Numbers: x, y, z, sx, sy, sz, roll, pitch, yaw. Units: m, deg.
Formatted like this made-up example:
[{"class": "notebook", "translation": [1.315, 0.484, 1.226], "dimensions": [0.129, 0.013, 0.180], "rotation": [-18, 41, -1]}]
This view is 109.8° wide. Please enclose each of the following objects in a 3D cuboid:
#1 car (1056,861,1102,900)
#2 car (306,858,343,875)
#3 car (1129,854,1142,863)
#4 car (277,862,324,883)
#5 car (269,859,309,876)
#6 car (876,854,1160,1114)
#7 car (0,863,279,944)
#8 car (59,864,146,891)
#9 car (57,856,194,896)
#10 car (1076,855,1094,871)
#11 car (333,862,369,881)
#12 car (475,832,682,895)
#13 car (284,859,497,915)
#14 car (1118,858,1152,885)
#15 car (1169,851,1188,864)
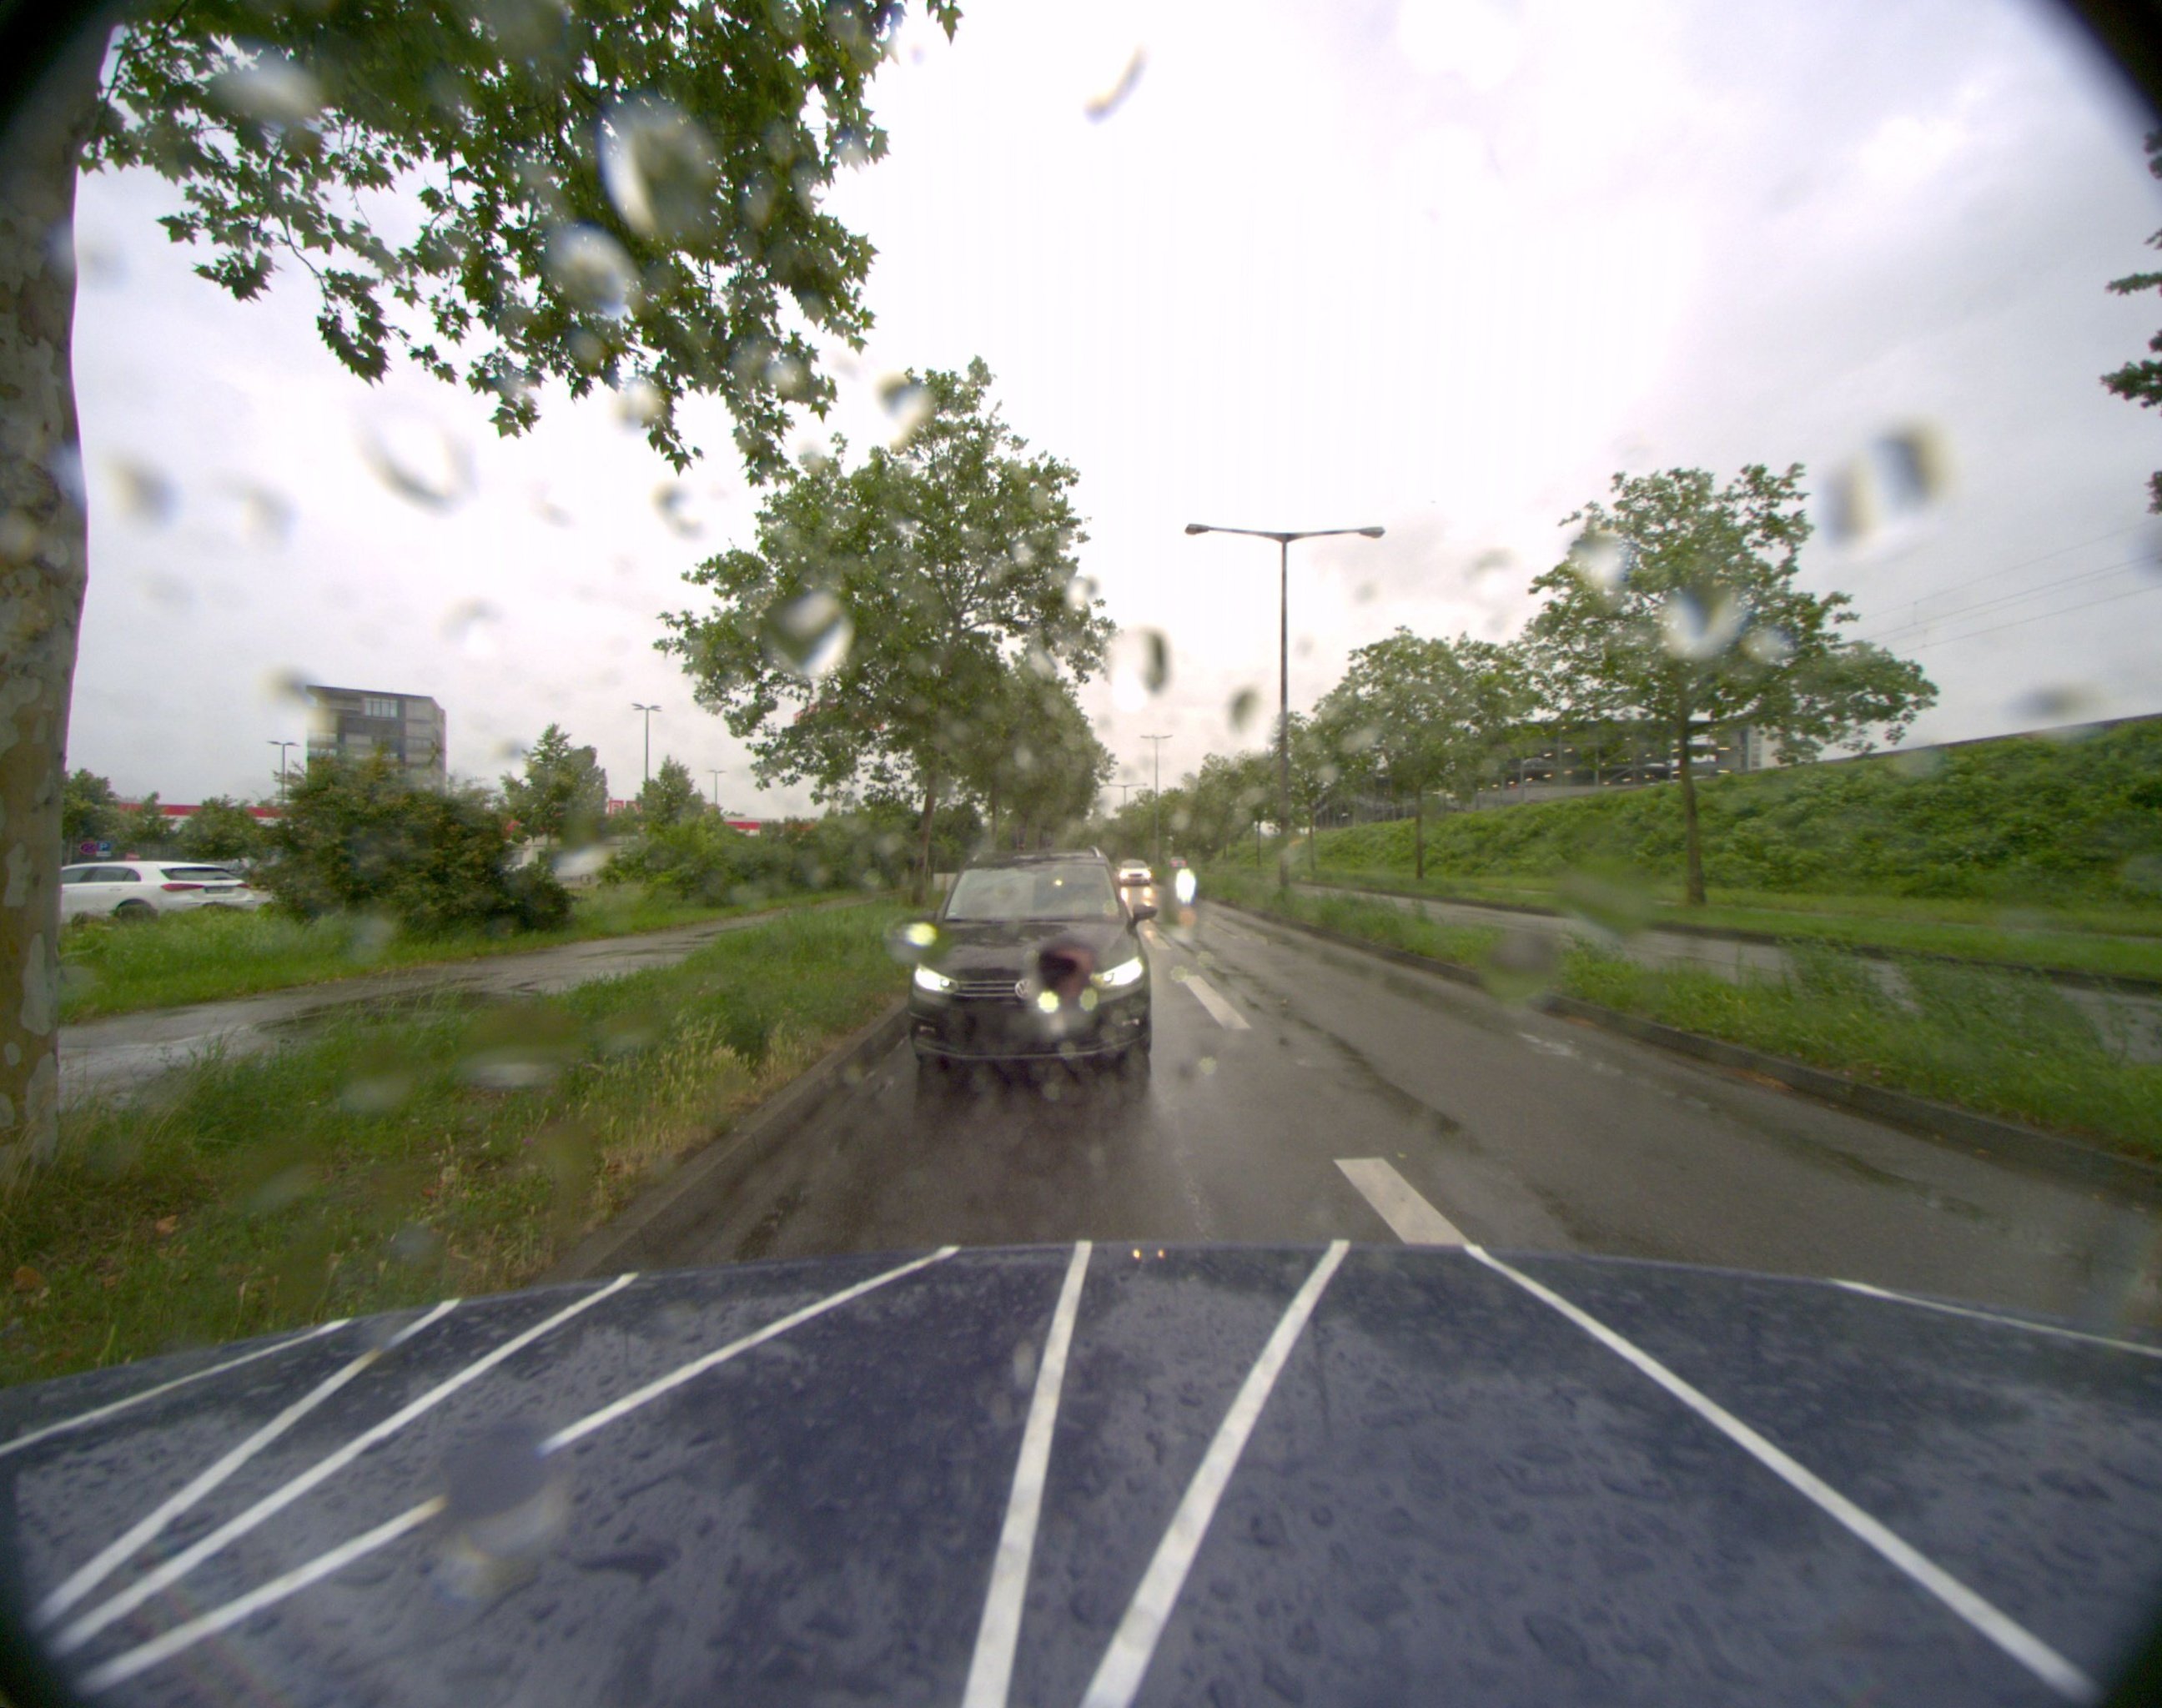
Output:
[{"class": "car", "translation": [-0.076, 1.049, 31.670], "dimensions": [1.724, 1.456, 4.092], "rotation": [-2, 0, 0]}, {"class": "car", "translation": [-78.474, 1.234, 78.866], "dimensions": [2.006, 1.667, 4.262], "rotation": [0, 0, -35]}, {"class": "car", "translation": [8.862, 0.691, 123.621], "dimensions": [1.724, 1.456, 4.092], "rotation": [0, 0, 0]}, {"class": "car", "translation": [-67.289, 1.600, 65.604], "dimensions": [2.006, 1.667, 4.262], "rotation": [0, 0, -34]}, {"class": "car", "translation": [-80.585, 1.332, 77.335], "dimensions": [2.006, 1.667, 4.262], "rotation": [0, 0, -35]}, {"class": "car", "translation": [-0.446, 0.838, 7.216], "dimensions": [1.771, 1.596, 4.626], "rotation": [-2, 0, -1]}, {"class": "car", "translation": [-19.799, 0.968, 15.661], "dimensions": [4.272, 1.543, 1.929], "rotation": [0, 0, -4]}, {"class": "car", "translation": [-61.860, 1.436, 48.137], "dimensions": [1.933, 1.543, 4.263], "rotation": [0, 0, -30]}, {"class": "car", "translation": [-46.303, 1.051, 36.943], "dimensions": [3.787, 1.708, 1.687], "rotation": [-3, 1, -37]}, {"class": "car", "translation": [0.423, 0.870, 75.883], "dimensions": [1.724, 1.456, 4.092], "rotation": [-2, 0, 1]}, {"class": "car", "translation": [-68.727, 1.644, 71.594], "dimensions": [2.007, 1.667, 4.261], "rotation": [0, 0, -39]}, {"class": "car", "translation": [-19.671, 0.364, 30.081], "dimensions": [6.425, 2.349, 2.390], "rotation": [0, 0, -8]}, {"class": "car", "translation": [-19.952, 0.926, 22.132], "dimensions": [4.272, 1.543, 1.929], "rotation": [0, 0, -4]}, {"class": "car", "translation": [3.030, 0.974, 43.355], "dimensions": [1.683, 1.368, 4.011], "rotation": [-2, 0, 1]}, {"class": "car", "translation": [11.204, 0.334, 87.343], "dimensions": [1.724, 1.456, 4.092], "rotation": [0, 0, 0]}]
